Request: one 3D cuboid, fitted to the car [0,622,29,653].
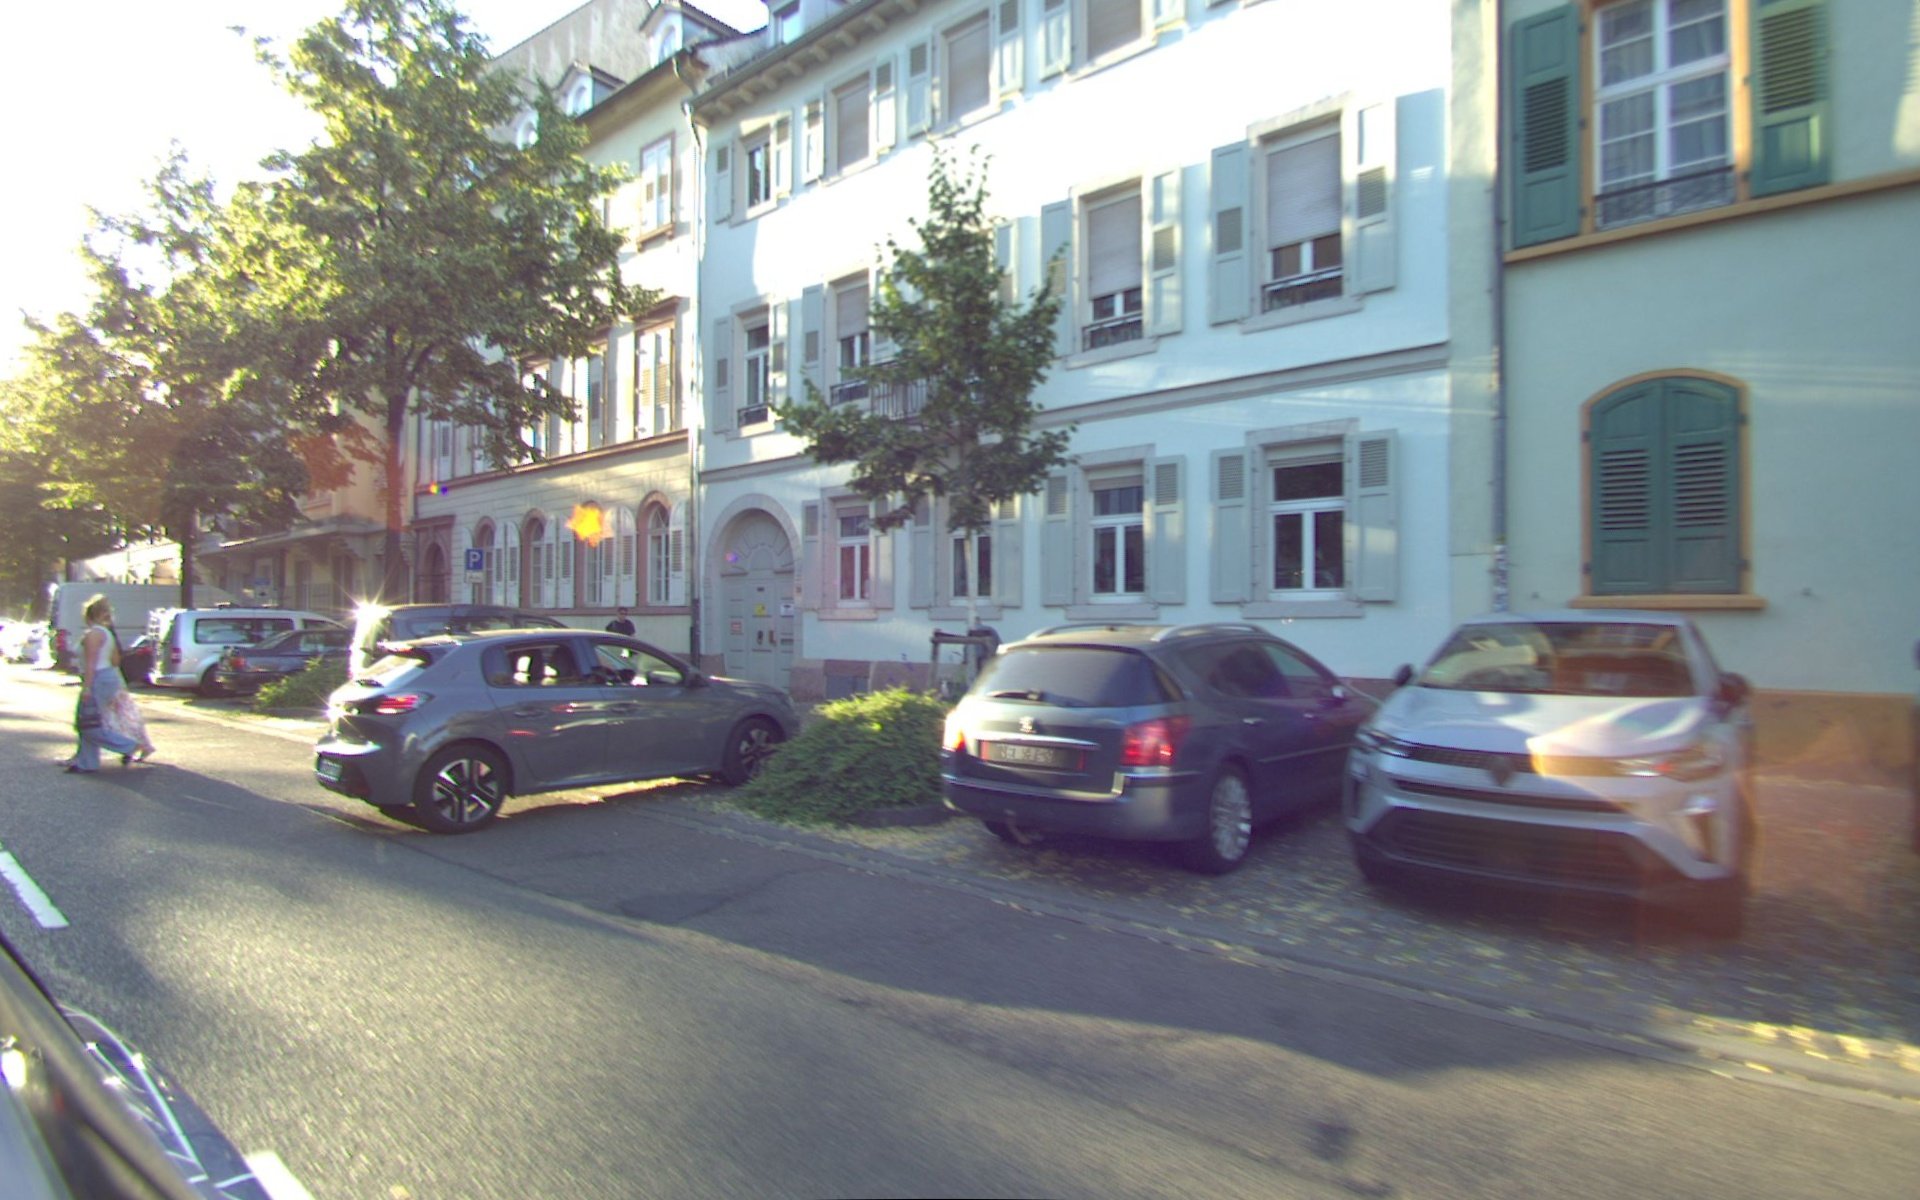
[{"bbox_3d":[-57.705,2.184,59.201,1.945,1.796,4.510,-1,-1,40],"label":"car"}]

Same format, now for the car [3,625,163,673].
[{"bbox_3d":[-31.665,1.732,36.627,1.968,1.494,4.144,-2,-1,40],"label":"car"}]

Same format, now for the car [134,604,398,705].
[{"bbox_3d":[-15.026,1.095,22.106,1.918,1.968,4.451,-2,-2,43],"label":"car"}]

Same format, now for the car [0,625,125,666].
[{"bbox_3d":[-37.243,1.858,41.859,1.695,1.459,3.878,-2,0,38],"label":"car"}]

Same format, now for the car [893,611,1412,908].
[{"bbox_3d":[1.608,0.854,7.281,1.961,1.495,3.996,-2,-2,40],"label":"car"}]

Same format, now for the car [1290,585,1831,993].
[{"bbox_3d":[3.796,0.775,6.051,1.964,1.567,3.993,-2,-2,43],"label":"car"}]

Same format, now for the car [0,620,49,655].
[{"bbox_3d":[-52.683,2.058,54.926,2.052,1.825,4.657,-2,-1,41],"label":"car"}]

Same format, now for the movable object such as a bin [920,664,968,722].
[{"bbox_3d":[-0.236,1.344,14.740,0.533,0.803,0.443,-2,-1,40],"label":"movable object such as a bin"}]

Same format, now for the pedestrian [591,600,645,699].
[{"bbox_3d":[-6.464,0.929,19.135,0.779,1.815,0.655,-1,-2,41],"label":"pedestrian"}]

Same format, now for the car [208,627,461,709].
[{"bbox_3d":[-12.593,1.304,20.571,1.593,1.450,4.108,-2,-2,42],"label":"car"}]

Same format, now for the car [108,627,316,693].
[{"bbox_3d":[-18.801,1.448,25.580,1.748,1.414,3.948,0,0,39],"label":"car"}]

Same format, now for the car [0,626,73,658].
[{"bbox_3d":[-46.699,2.086,49.840,1.821,1.434,4.337,-2,-1,40],"label":"car"}]

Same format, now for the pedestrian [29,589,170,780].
[{"bbox_3d":[-8.504,0.805,10.009,0.762,1.773,0.912,-2,-3,41],"label":"pedestrian"}]

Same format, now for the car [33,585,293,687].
[{"bbox_3d":[-22.875,0.935,29.275,2.170,2.641,5.600,-2,-1,40],"label":"car"}]

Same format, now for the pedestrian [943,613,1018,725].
[{"bbox_3d":[0.296,0.962,14.433,0.796,1.533,0.689,-2,-1,40],"label":"pedestrian"}]

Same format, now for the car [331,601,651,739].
[{"bbox_3d":[-7.053,0.973,15.528,1.806,1.820,4.093,-2,-2,42],"label":"car"}]

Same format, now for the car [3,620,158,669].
[{"bbox_3d":[-33.602,1.645,38.758,1.890,1.663,4.192,-2,-1,36],"label":"car"}]

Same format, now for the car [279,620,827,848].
[{"bbox_3d":[-3.229,0.919,8.635,1.686,1.472,4.014,-2,-2,43],"label":"car"}]

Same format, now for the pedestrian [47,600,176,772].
[{"bbox_3d":[-8.963,0.877,10.700,0.762,1.708,0.912,-2,-3,41],"label":"pedestrian"}]

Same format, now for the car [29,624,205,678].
[{"bbox_3d":[-27.515,1.621,33.135,1.792,1.518,4.170,-2,-1,40],"label":"car"}]
